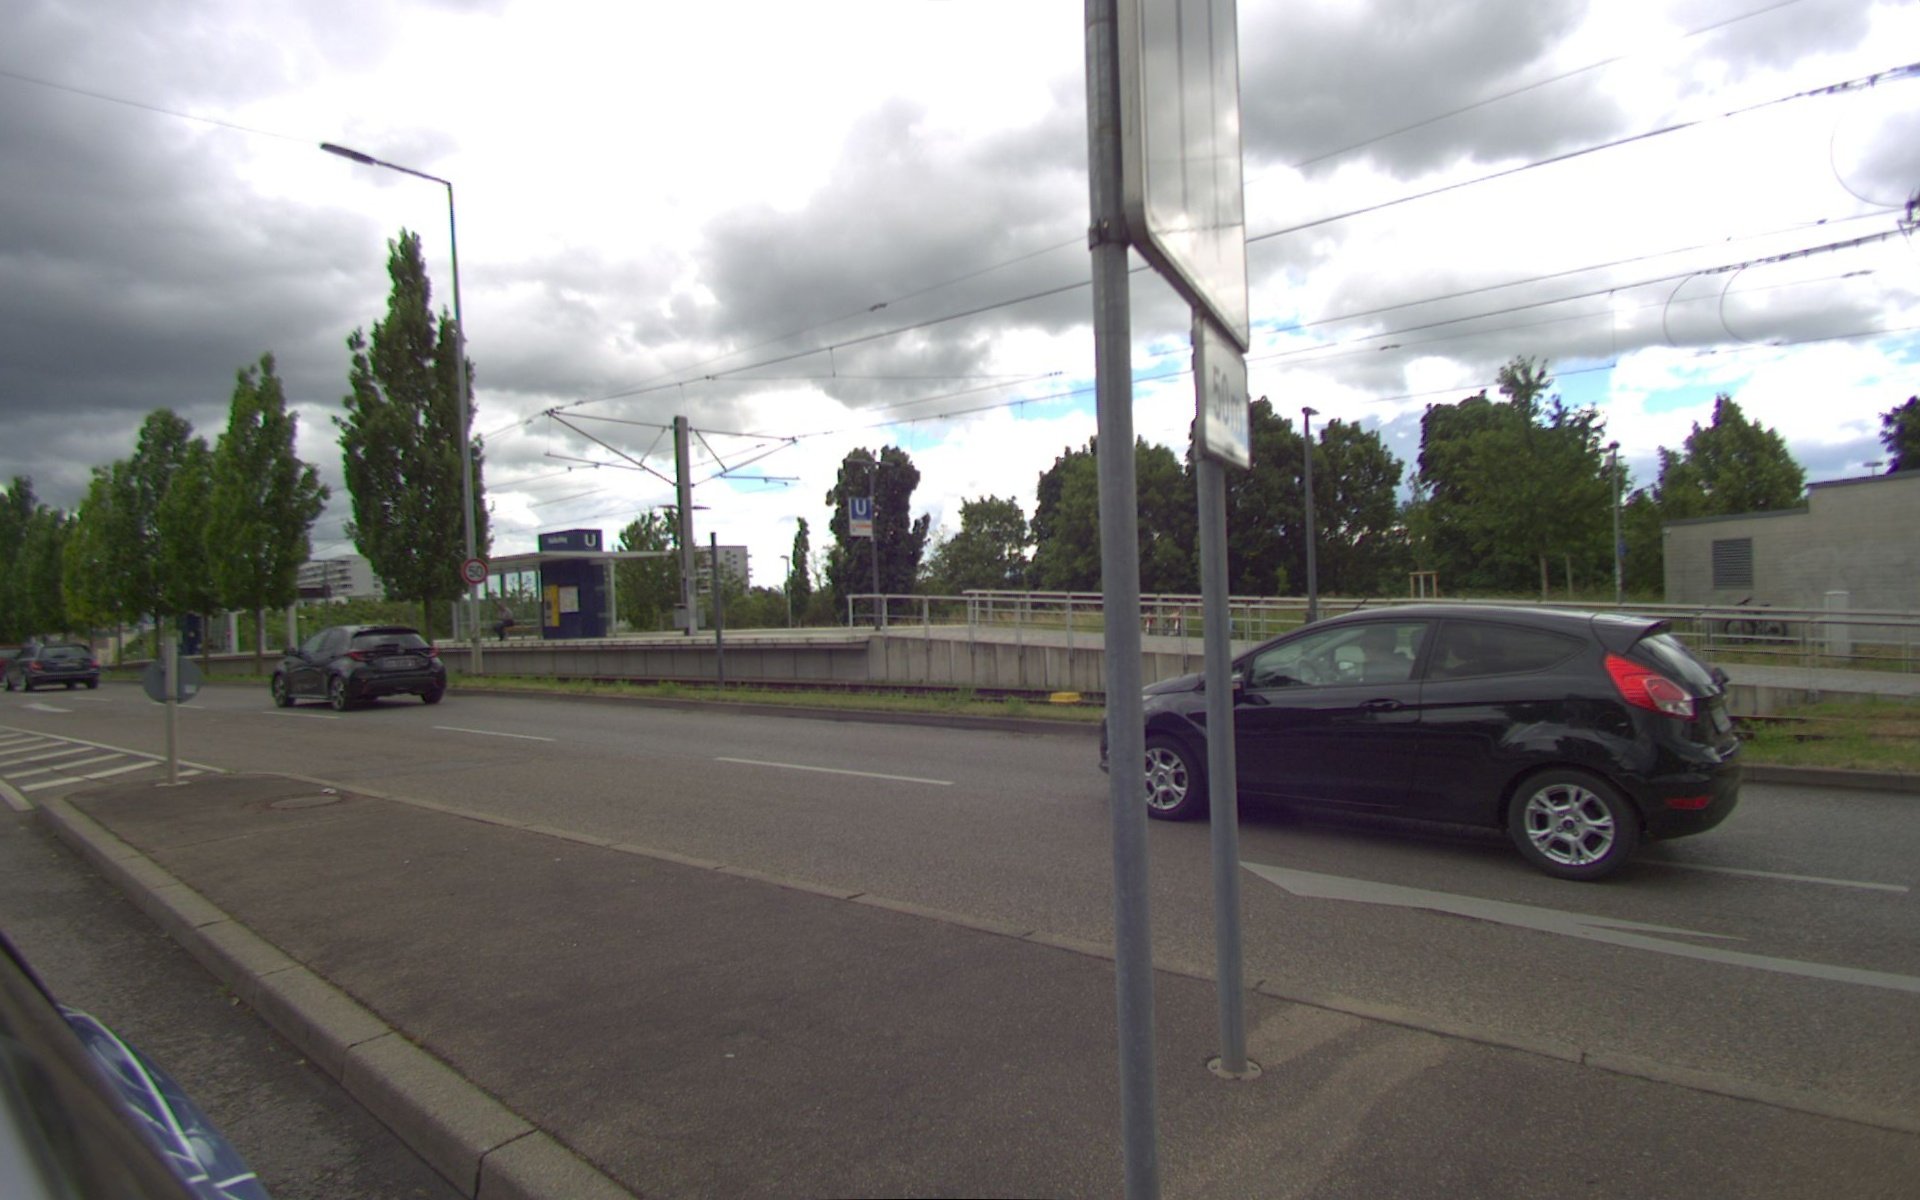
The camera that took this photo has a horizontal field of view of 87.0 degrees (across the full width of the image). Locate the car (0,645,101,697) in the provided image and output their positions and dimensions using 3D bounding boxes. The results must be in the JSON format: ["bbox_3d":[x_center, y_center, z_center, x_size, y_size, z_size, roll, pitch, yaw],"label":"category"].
[{"bbox_3d":[-28.222,2.141,31.232,4.538,1.450,1.675,-2,-1,37],"label":"car"}]

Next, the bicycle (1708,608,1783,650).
[{"bbox_3d":[19.811,0.721,25.562,0.405,1.023,1.798,-2,-1,-2],"label":"bicycle"}]

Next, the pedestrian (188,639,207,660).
[{"bbox_3d":[-44.963,2.924,59.660,0.665,1.208,0.753,-5,-3,41],"label":"pedestrian"}]

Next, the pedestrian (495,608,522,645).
[{"bbox_3d":[-16.299,0.951,36.501,0.659,1.279,0.604,-6,-3,39],"label":"pedestrian"}]

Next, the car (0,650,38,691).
[{"bbox_3d":[-36.969,2.717,38.819,4.080,1.499,1.687,-3,-2,37],"label":"car"}]

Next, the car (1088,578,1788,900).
[{"bbox_3d":[2.861,0.681,6.564,3.777,1.491,1.616,-2,-1,43],"label":"car"}]

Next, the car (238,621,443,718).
[{"bbox_3d":[-11.411,1.232,18.581,3.926,1.507,1.582,-2,2,32],"label":"car"}]
